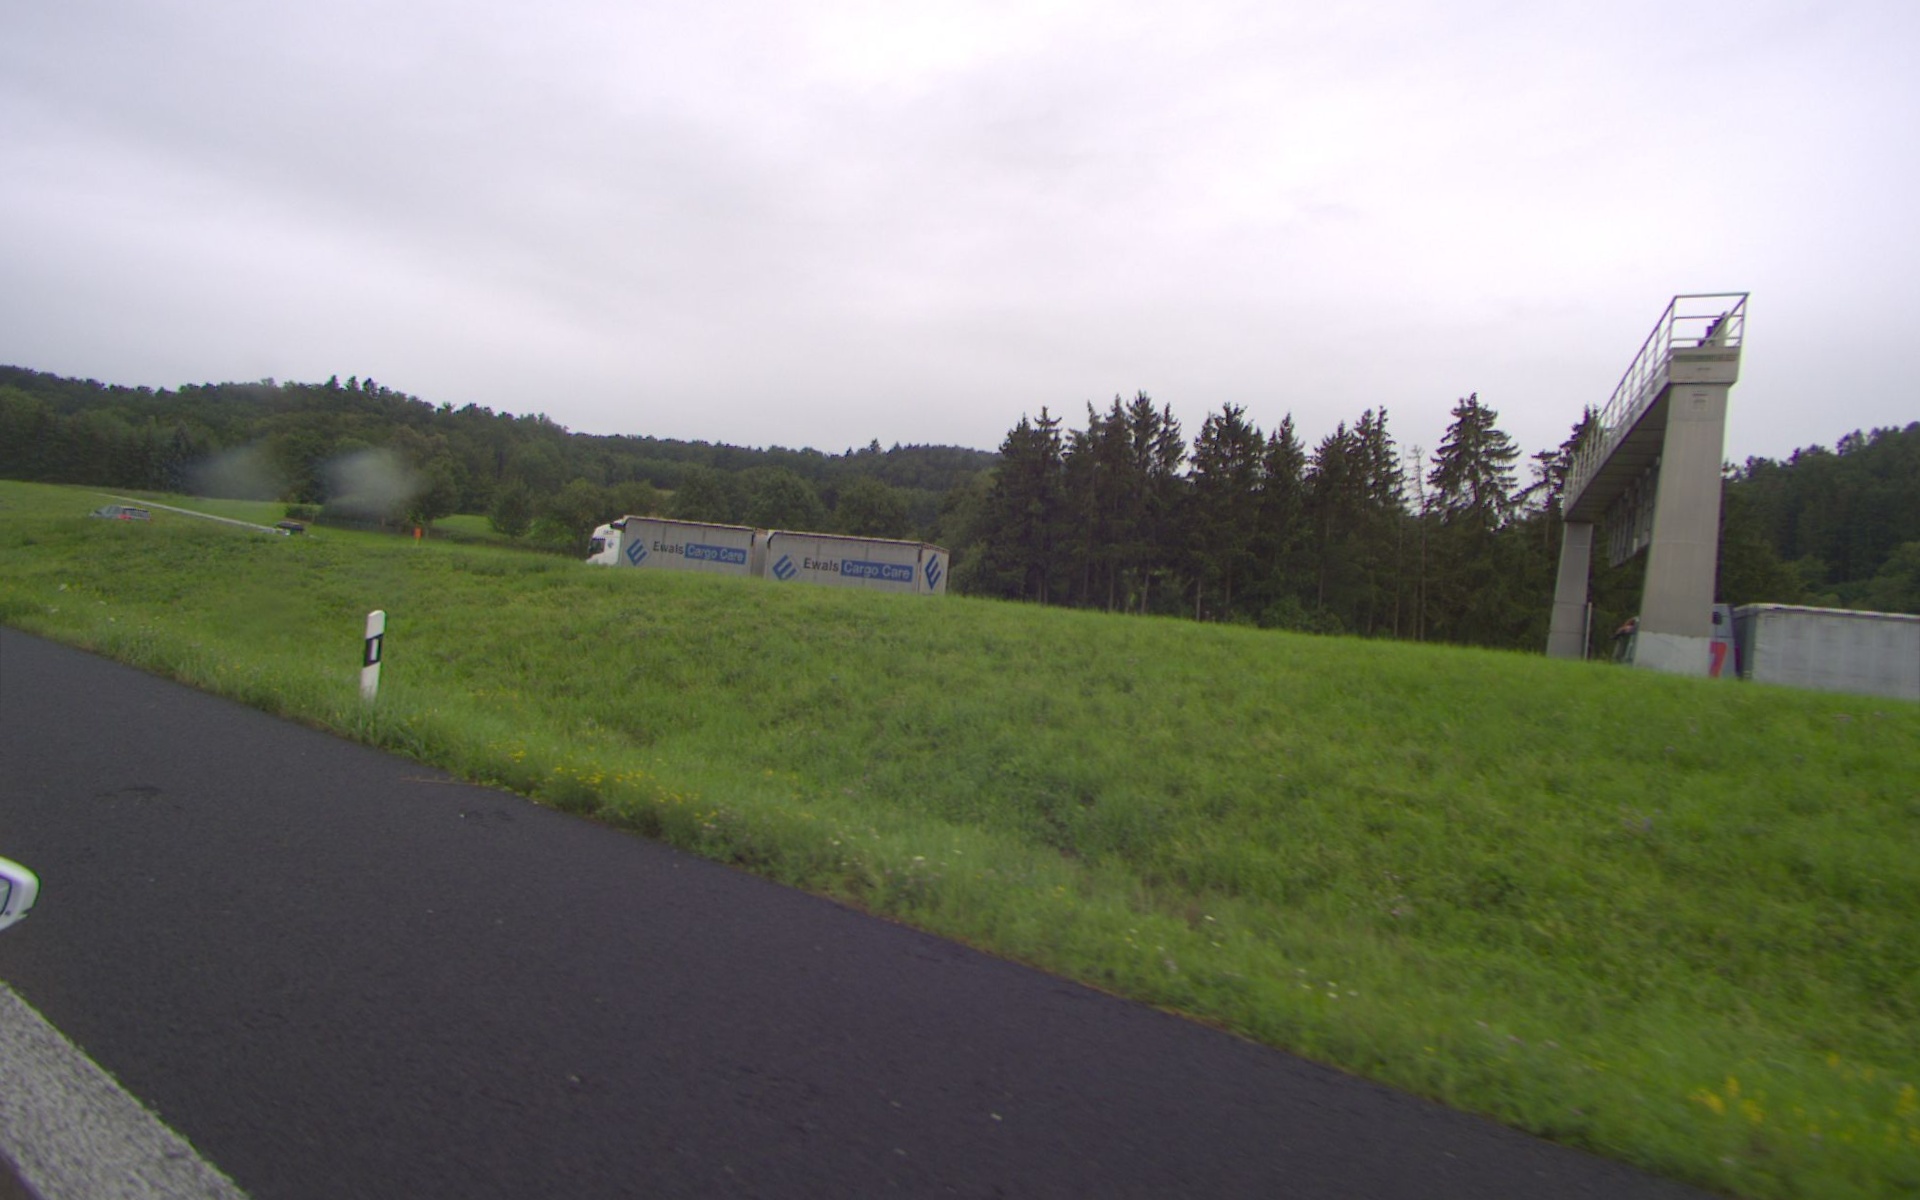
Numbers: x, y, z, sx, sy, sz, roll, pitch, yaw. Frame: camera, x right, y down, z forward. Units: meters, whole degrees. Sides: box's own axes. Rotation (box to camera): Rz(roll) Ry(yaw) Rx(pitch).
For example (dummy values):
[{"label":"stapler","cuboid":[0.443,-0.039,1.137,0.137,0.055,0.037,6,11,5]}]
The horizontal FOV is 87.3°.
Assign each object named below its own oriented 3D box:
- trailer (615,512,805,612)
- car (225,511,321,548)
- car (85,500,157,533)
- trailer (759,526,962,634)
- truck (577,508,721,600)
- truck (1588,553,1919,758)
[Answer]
[{"label":"trailer","cuboid":[-11.701,-1.778,46.944,8.268,3.567,2.948,7,-2,25]},{"label":"car","cuboid":[-38.112,-3.909,55.783,4.987,1.393,1.992,7,-1,24]},{"label":"car","cuboid":[-44.725,-4.448,53.605,3.472,1.303,1.544,7,-2,26]},{"label":"trailer","cuboid":[-4.331,-0.893,43.527,7.940,3.567,3.089,7,-2,25]},{"label":"truck","cuboid":[-14.992,-2.215,48.504,5.821,3.567,2.948,7,-2,25]},{"label":"truck","cuboid":[26.461,1.965,26.010,16.584,4.595,3.831,7,-1,26]}]
